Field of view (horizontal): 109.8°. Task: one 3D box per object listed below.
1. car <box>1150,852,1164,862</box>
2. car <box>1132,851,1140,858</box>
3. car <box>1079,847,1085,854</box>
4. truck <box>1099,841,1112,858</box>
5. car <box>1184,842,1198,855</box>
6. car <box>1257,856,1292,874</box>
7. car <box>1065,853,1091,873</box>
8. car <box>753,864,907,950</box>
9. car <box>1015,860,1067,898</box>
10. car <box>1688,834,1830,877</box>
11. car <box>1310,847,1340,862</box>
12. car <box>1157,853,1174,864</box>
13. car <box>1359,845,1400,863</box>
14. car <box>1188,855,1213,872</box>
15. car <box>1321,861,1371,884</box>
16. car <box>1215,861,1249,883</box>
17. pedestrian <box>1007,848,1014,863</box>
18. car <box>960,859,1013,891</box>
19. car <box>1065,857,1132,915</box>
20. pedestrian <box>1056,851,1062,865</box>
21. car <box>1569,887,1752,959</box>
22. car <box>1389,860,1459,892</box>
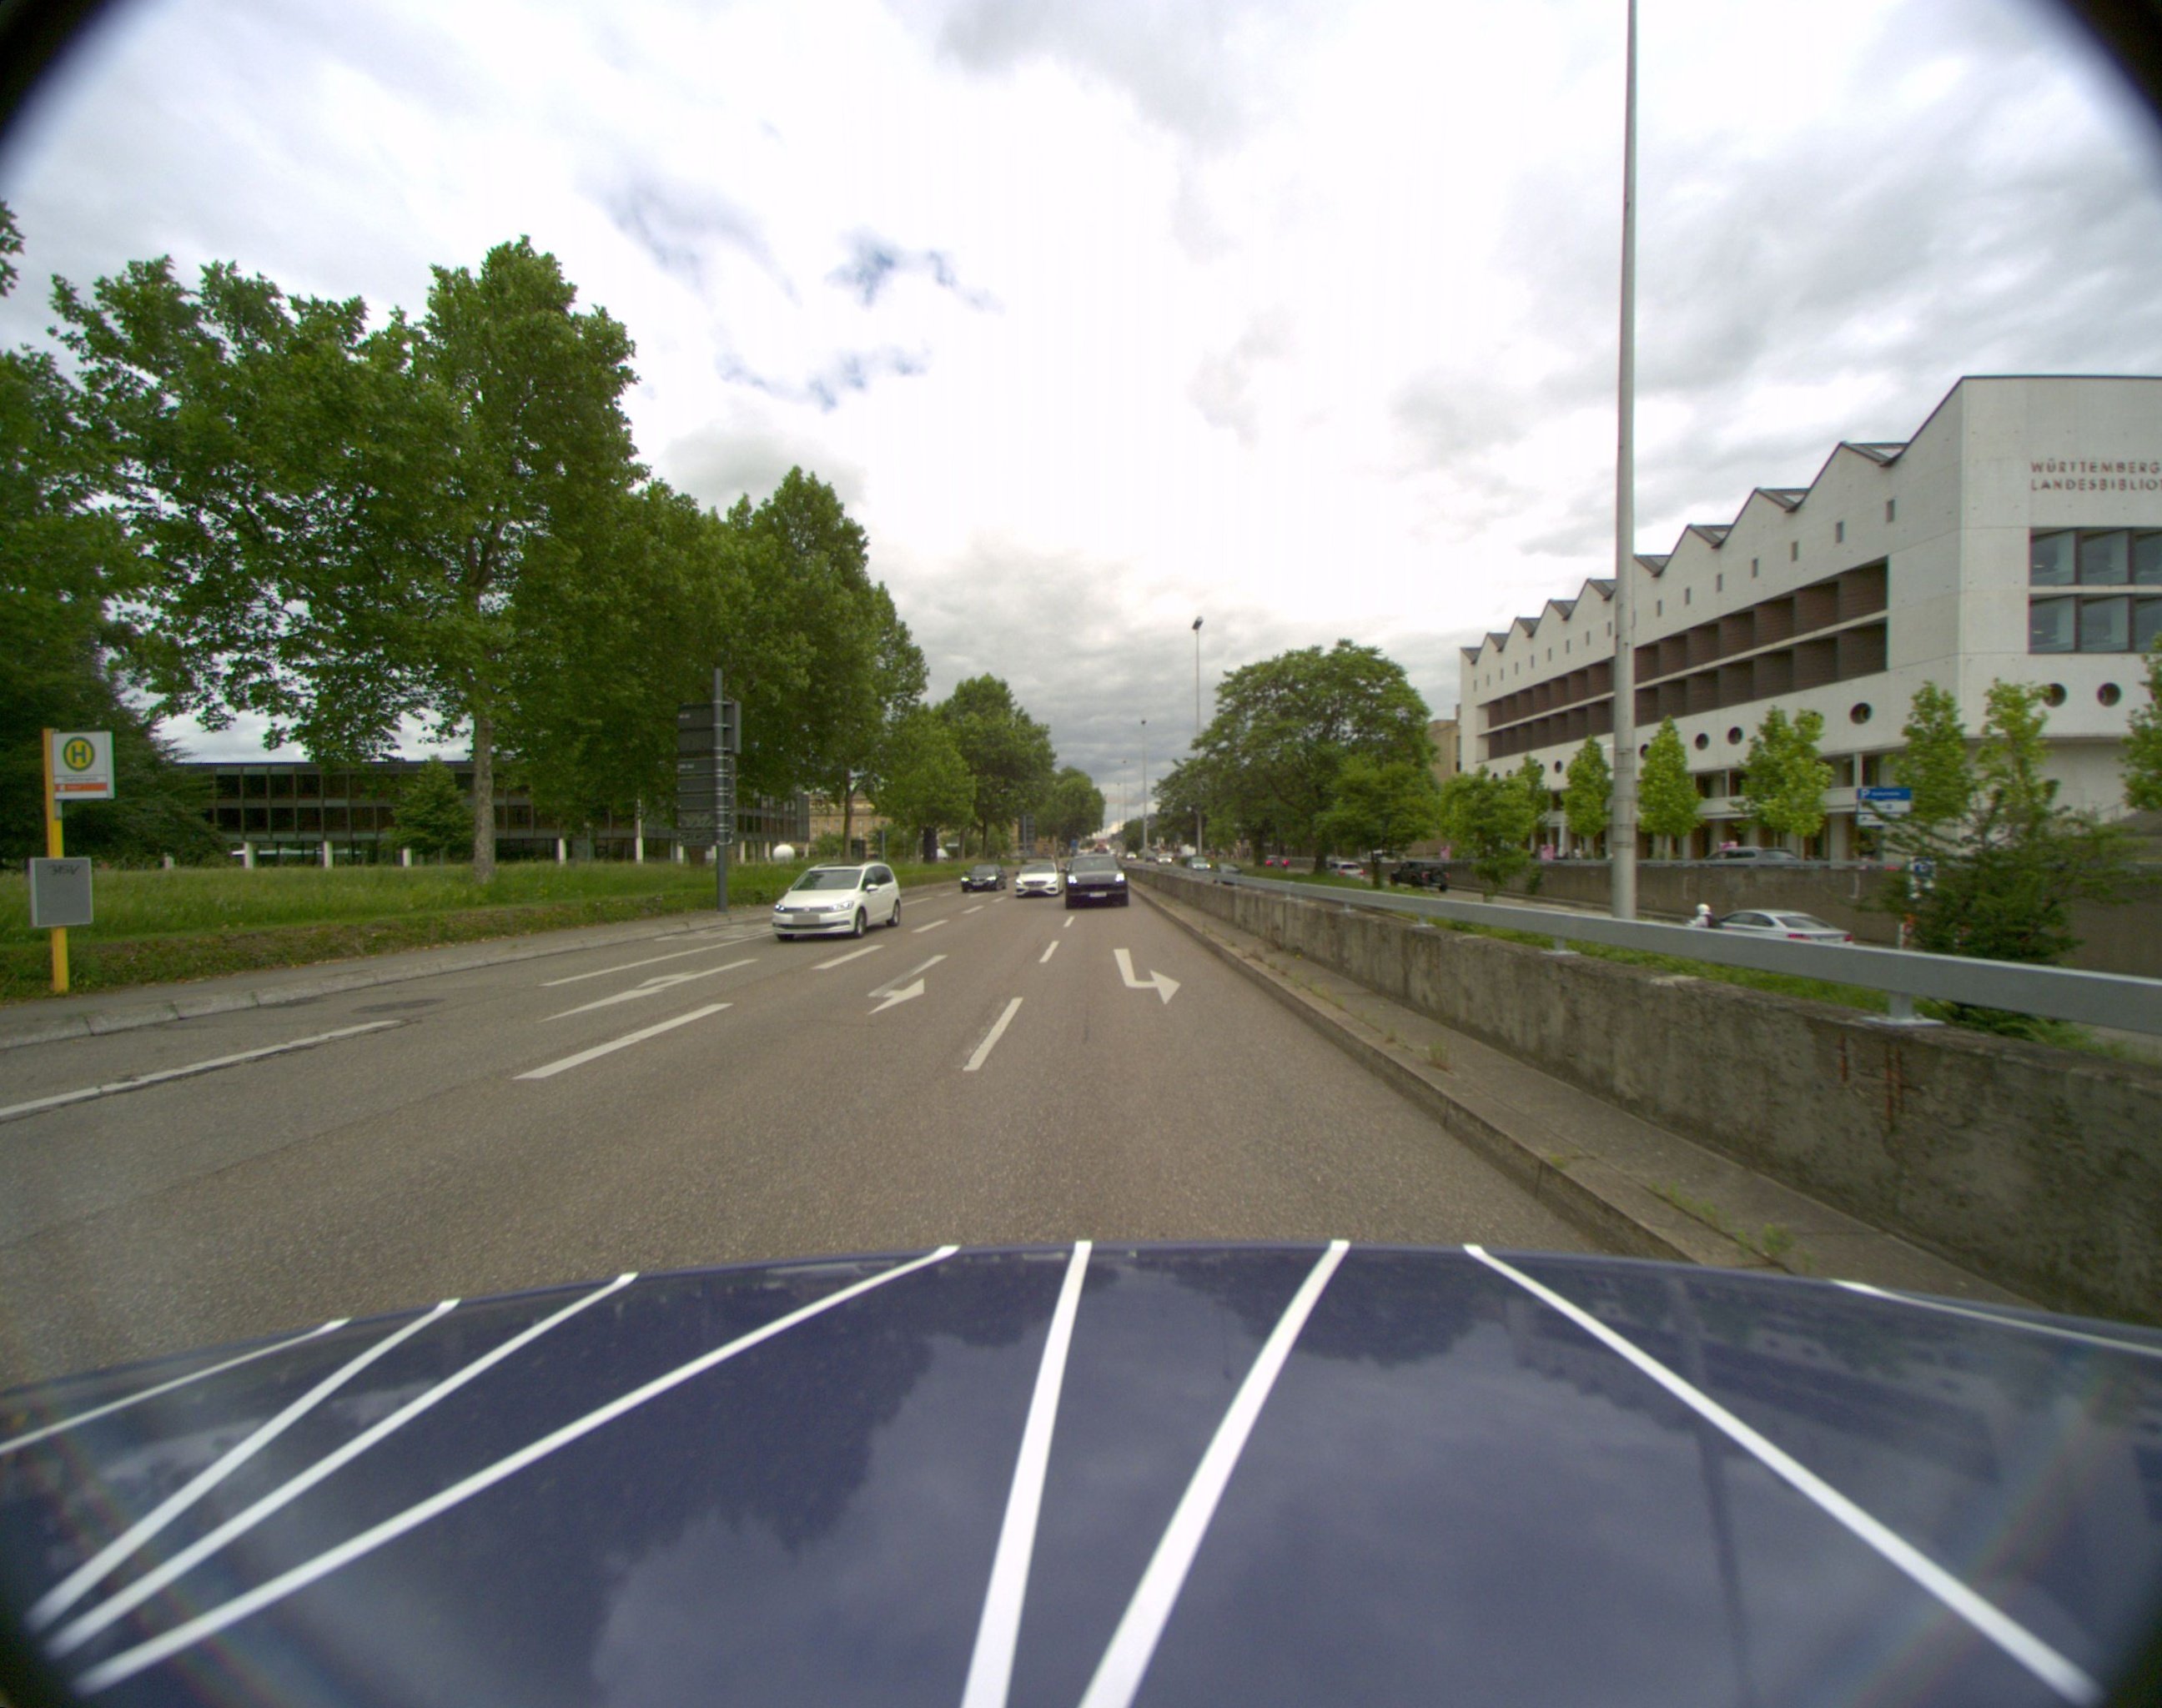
[{"bbox_3d":[12.117,0.457,120.957,1.787,1.406,4.092,-1,0,0],"label":"car"},{"bbox_3d":[11.353,0.034,156.316,1.372,1.390,3.722,2,0,0],"label":"car"},{"bbox_3d":[0.360,-1.167,254.346,1.693,2.002,4.000,-3,1,2],"label":"car"},{"bbox_3d":[5.103,-0.992,159.813,2.357,3.517,9.425,-3,1,2],"label":"truck"},{"bbox_3d":[17.165,-0.871,118.495,1.609,1.844,4.000,-3,1,1],"label":"car"},{"bbox_3d":[16.934,0.960,66.673,1.998,1.390,4.000,2,0,0],"label":"car"},{"bbox_3d":[-0.205,0.697,59.823,1.852,1.481,4.092,-1,0,2],"label":"car"},{"bbox_3d":[-5.587,1.099,17.570,1.998,1.630,4.304,-1,0,2],"label":"car"},{"bbox_3d":[-1.637,1.027,32.810,1.799,1.411,4.527,-1,0,2],"label":"car"},{"bbox_3d":[27.229,-0.007,30.757,1.841,1.574,4.273,2,2,0],"label":"car"},{"bbox_3d":[28.840,0.034,89.838,1.955,1.619,4.489,-1,0,-3],"label":"car"},{"bbox_3d":[11.130,0.624,100.090,1.657,1.406,4.092,-1,0,0],"label":"car"},{"bbox_3d":[28.390,0.014,72.368,1.955,1.619,4.489,-1,0,-3],"label":"car"},{"bbox_3d":[10.935,0.830,69.703,1.559,1.406,4.091,-1,0,-1],"label":"car"},{"bbox_3d":[17.785,1.228,51.159,1.998,1.390,4.000,2,0,0],"label":"car"},{"bbox_3d":[10.656,1.260,53.963,1.559,1.406,4.092,-1,0,0],"label":"car"},{"bbox_3d":[-10.234,0.215,110.413,0.892,2.002,1.181,-3,1,2],"label":"pedestrian"},{"bbox_3d":[-4.897,1.066,39.979,1.936,1.451,4.527,-2,1,3],"label":"car"},{"bbox_3d":[0.637,0.940,24.347,1.904,1.580,4.733,-1,0,3],"label":"car"},{"bbox_3d":[-3.121,0.621,108.984,0.792,2.001,0.741,-1,-1,2],"label":"pedestrian"},{"bbox_3d":[17.138,1.966,22.826,1.998,1.665,4.517,2,0,0],"label":"car"},{"bbox_3d":[21.052,1.286,46.842,2.161,1.635,4.515,2,2,-1],"label":"car"}]
